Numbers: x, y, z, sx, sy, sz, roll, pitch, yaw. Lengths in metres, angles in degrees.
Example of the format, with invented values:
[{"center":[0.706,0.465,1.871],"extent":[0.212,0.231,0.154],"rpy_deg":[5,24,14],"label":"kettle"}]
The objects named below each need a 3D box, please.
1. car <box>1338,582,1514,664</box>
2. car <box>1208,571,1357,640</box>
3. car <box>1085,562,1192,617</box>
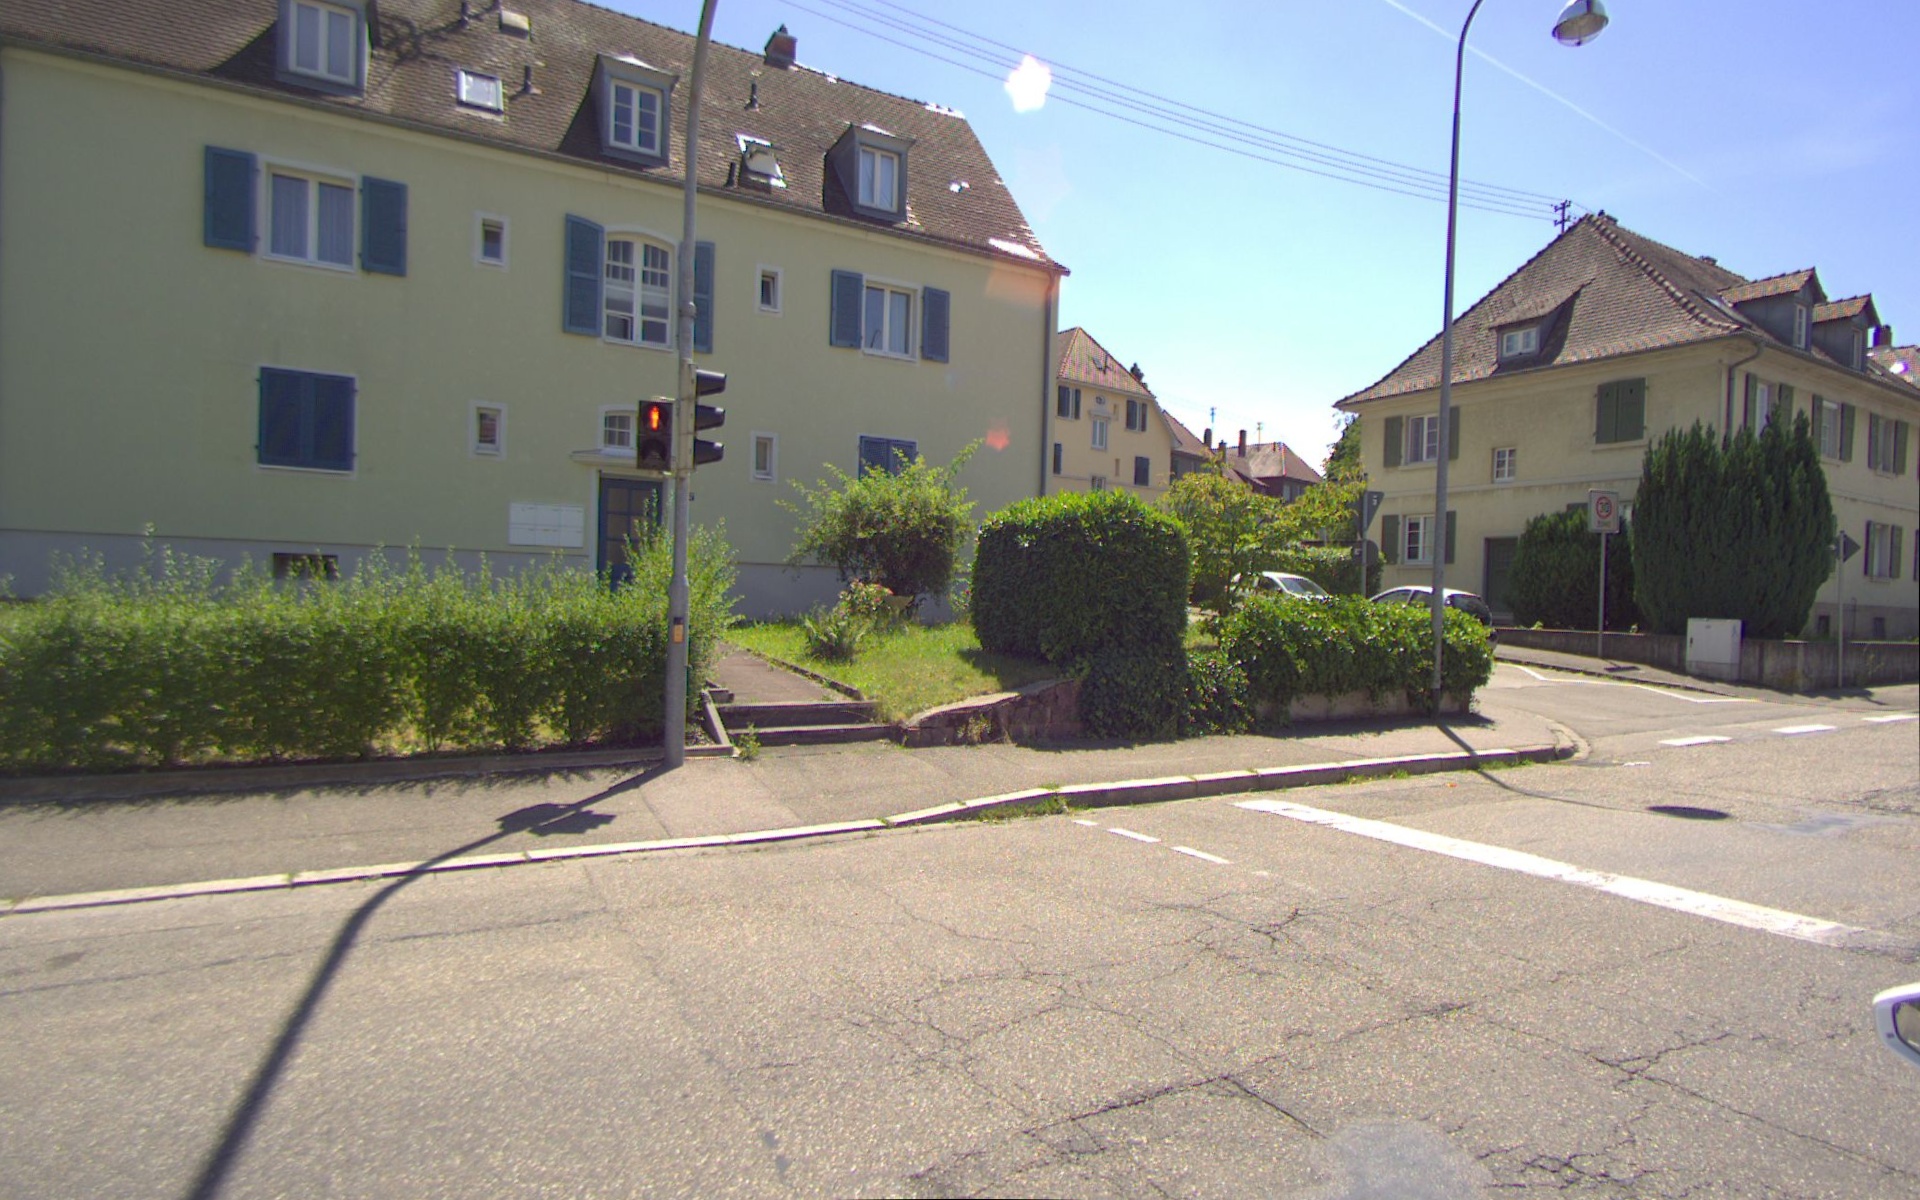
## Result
[{"center":[10.480,0.470,22.810],"extent":[1.711,1.476,3.193],"rpy_deg":[2,4,-24],"label":"car"},{"center":[8.360,0.111,26.332],"extent":[1.725,1.476,3.570],"rpy_deg":[2,3,-24],"label":"car"},{"center":[5.696,-0.359,32.388],"extent":[1.714,1.476,3.188],"rpy_deg":[2,4,-28],"label":"car"}]
